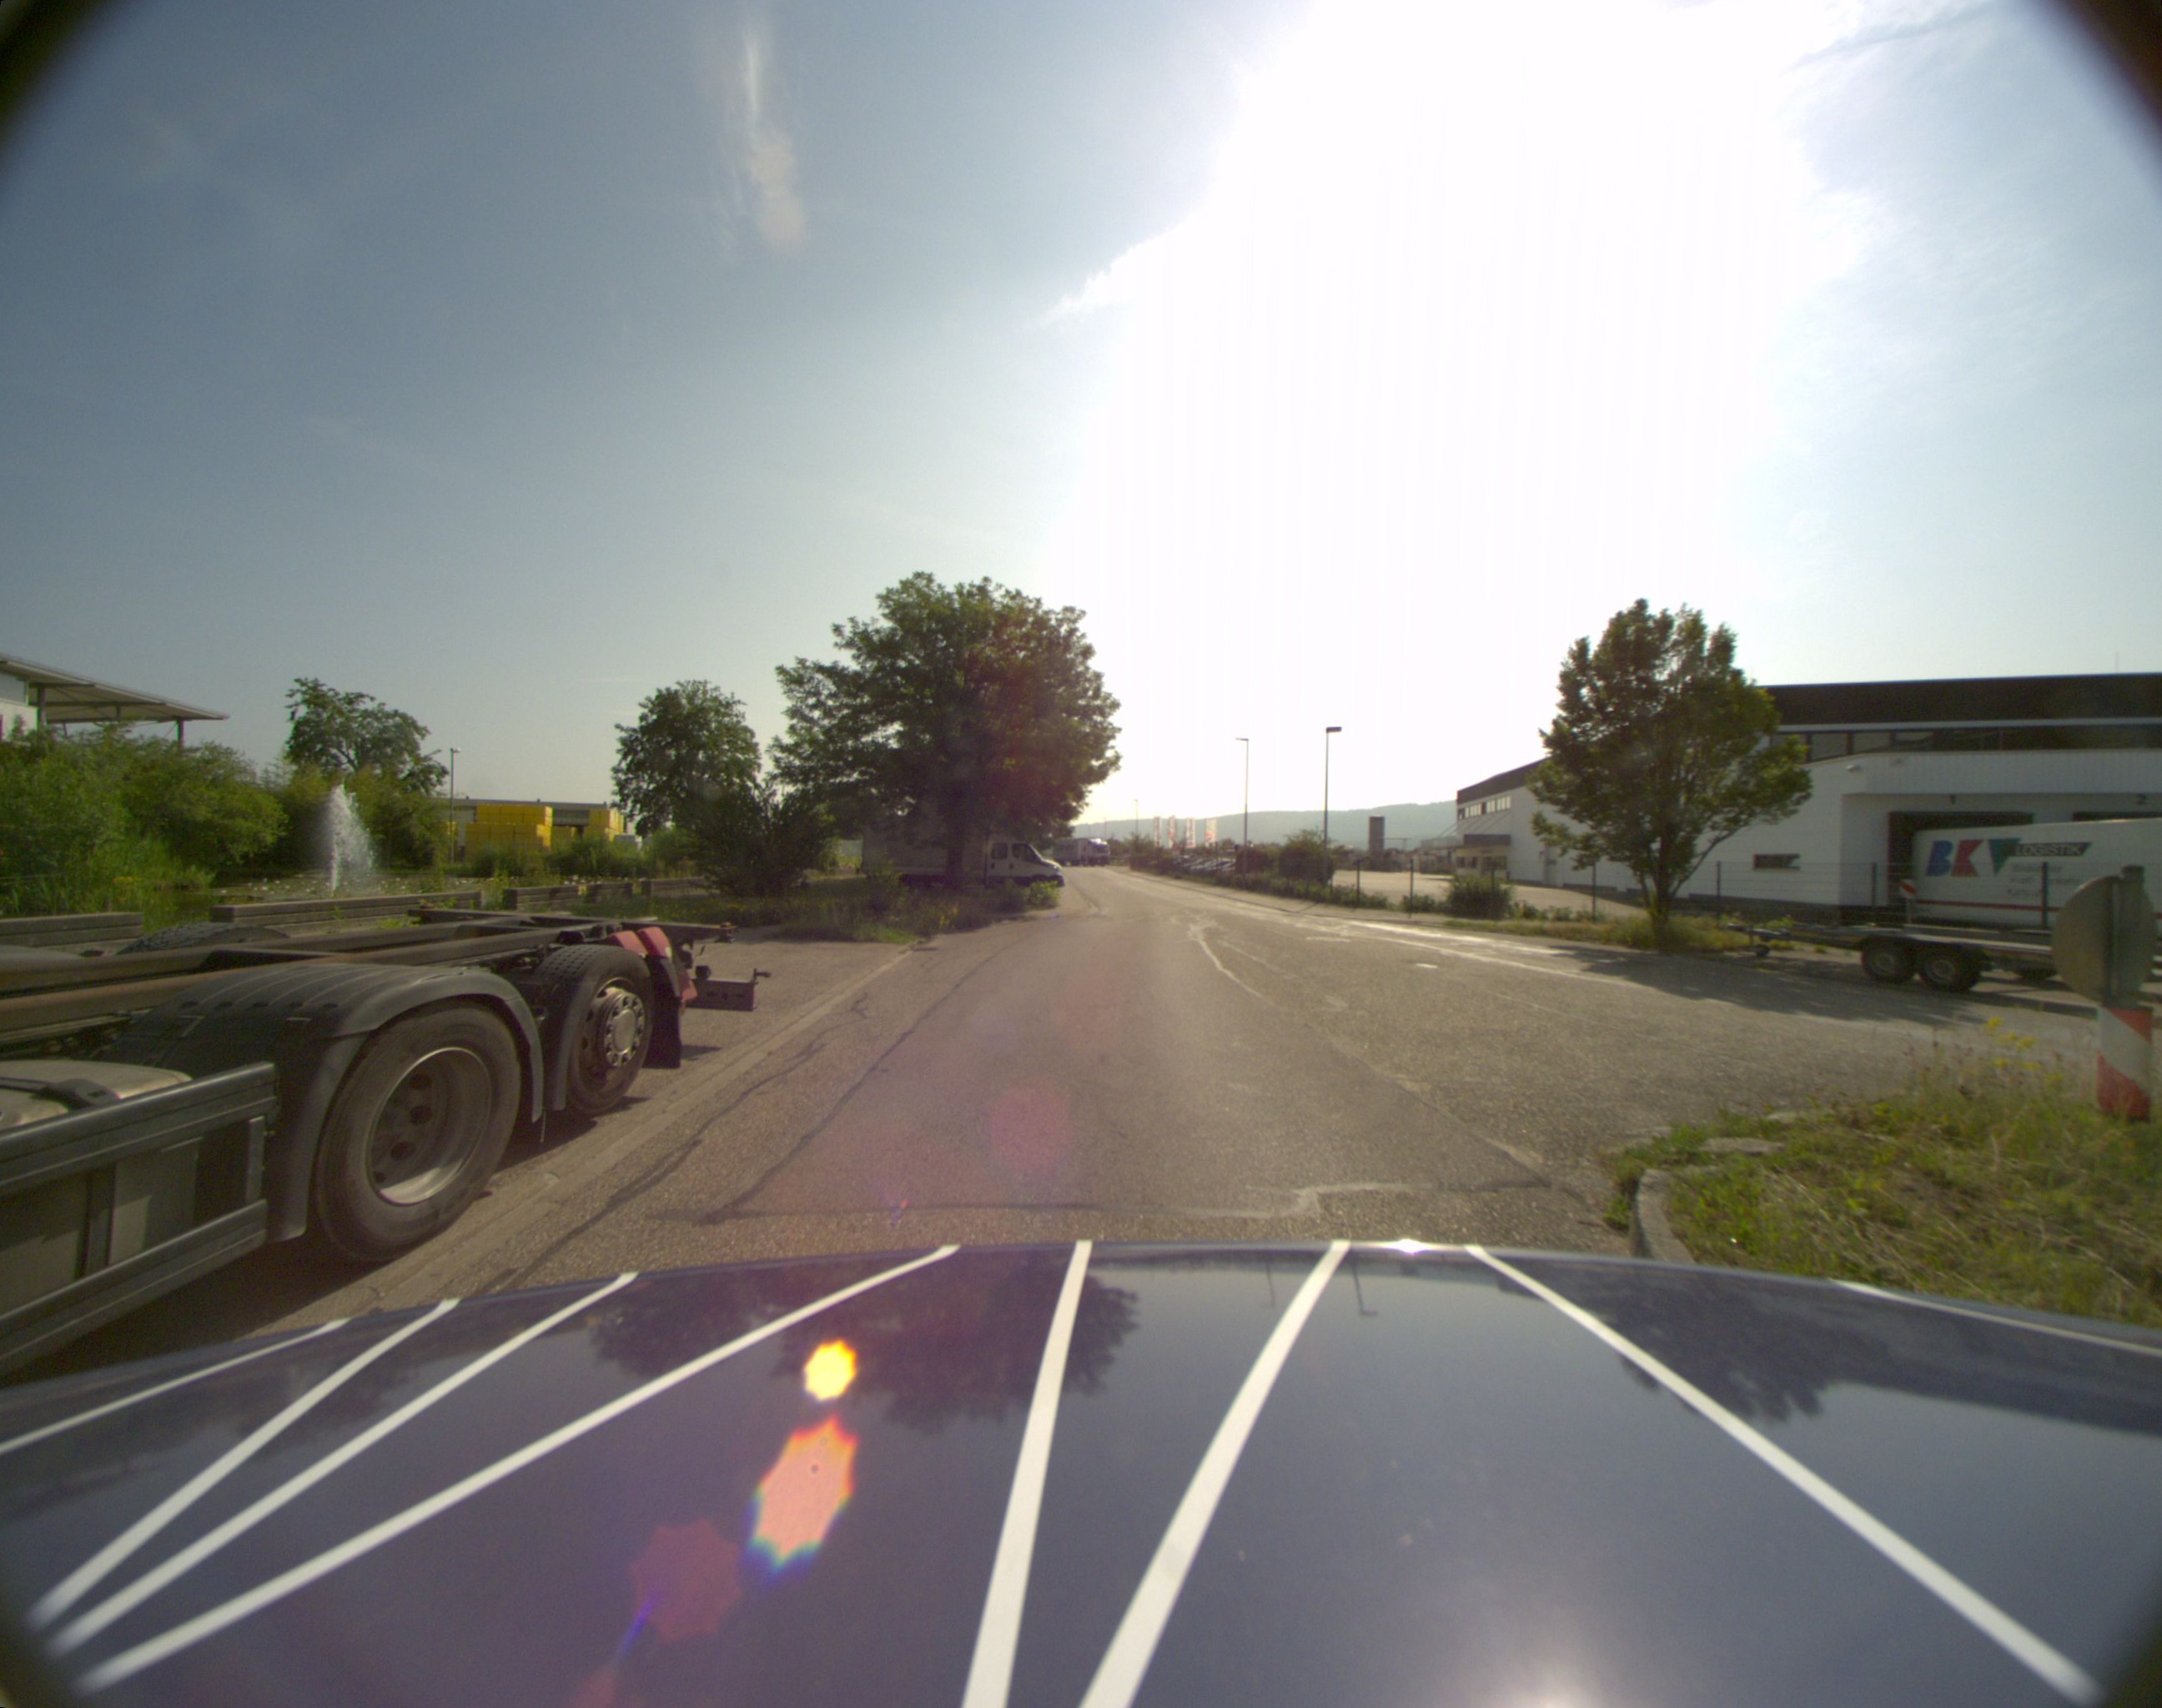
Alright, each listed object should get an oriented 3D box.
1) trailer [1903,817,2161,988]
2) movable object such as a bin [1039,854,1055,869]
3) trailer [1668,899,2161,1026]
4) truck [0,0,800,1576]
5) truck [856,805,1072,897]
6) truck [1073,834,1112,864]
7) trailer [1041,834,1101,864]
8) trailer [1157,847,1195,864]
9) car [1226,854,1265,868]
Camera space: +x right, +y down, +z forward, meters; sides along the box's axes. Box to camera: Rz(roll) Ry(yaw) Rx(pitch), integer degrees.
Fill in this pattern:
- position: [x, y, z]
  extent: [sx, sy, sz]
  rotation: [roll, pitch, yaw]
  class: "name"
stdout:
- position: [26.730, 1.112, 17.984]
  extent: [2.485, 4.018, 13.900]
  rotation: [-1, 1, 13]
  class: "trailer"
- position: [-7.045, 1.496, 156.946]
  extent: [2.436, 2.994, 5.748]
  rotation: [2, 0, -10]
  class: "movable object such as a bin"
- position: [12.856, 1.375, 11.433]
  extent: [2.554, 0.920, 6.707]
  rotation: [-2, 0, -4]
  class: "trailer"
- position: [-3.781, -0.205, 1.482]
  extent: [2.896, 3.515, 9.751]
  rotation: [4, 1, -2]
  class: "truck"
- position: [-4.566, -0.109, 30.792]
  extent: [8.232, 3.351, 2.739]
  rotation: [2, 1, -4]
  class: "truck"
- position: [1.645, -0.735, 109.471]
  extent: [3.401, 4.183, 6.086]
  rotation: [-2, 1, -23]
  class: "truck"
- position: [-1.787, -0.823, 116.627]
  extent: [3.504, 4.183, 14.202]
  rotation: [-2, 1, -25]
  class: "trailer"
- position: [16.357, 0.275, 130.779]
  extent: [6.316, 2.589, 2.857]
  rotation: [2, 1, 11]
  class: "trailer"
- position: [21.463, 0.931, 99.195]
  extent: [4.654, 1.742, 2.155]
  rotation: [1, 1, 18]
  class: "car"
